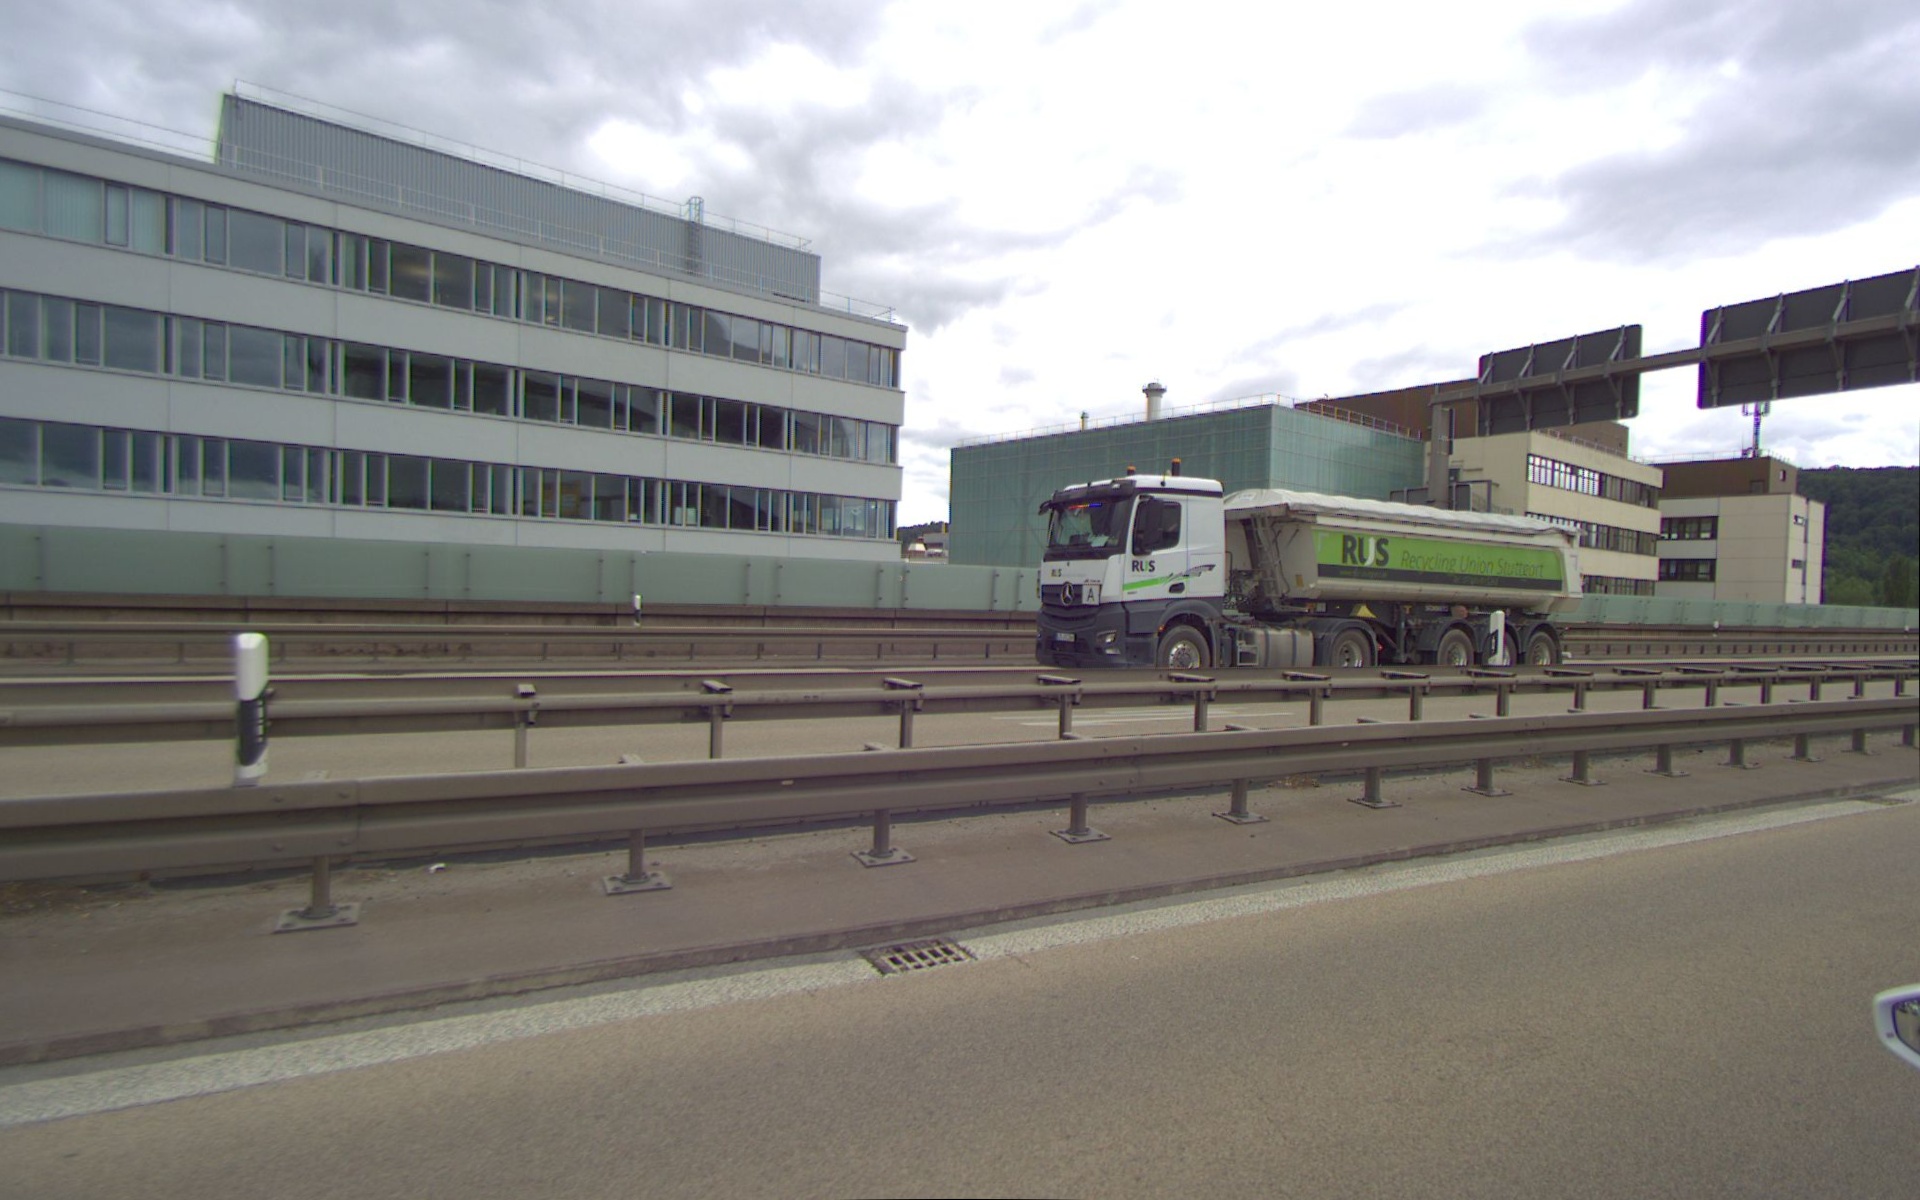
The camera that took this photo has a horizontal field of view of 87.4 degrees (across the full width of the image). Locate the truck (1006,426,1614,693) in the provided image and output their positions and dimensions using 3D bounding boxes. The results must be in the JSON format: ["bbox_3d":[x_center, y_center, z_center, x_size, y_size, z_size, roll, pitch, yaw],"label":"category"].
[{"bbox_3d":[6.981,-0.403,18.682,12.361,3.826,3.045,2,0,-28],"label":"truck"}]
